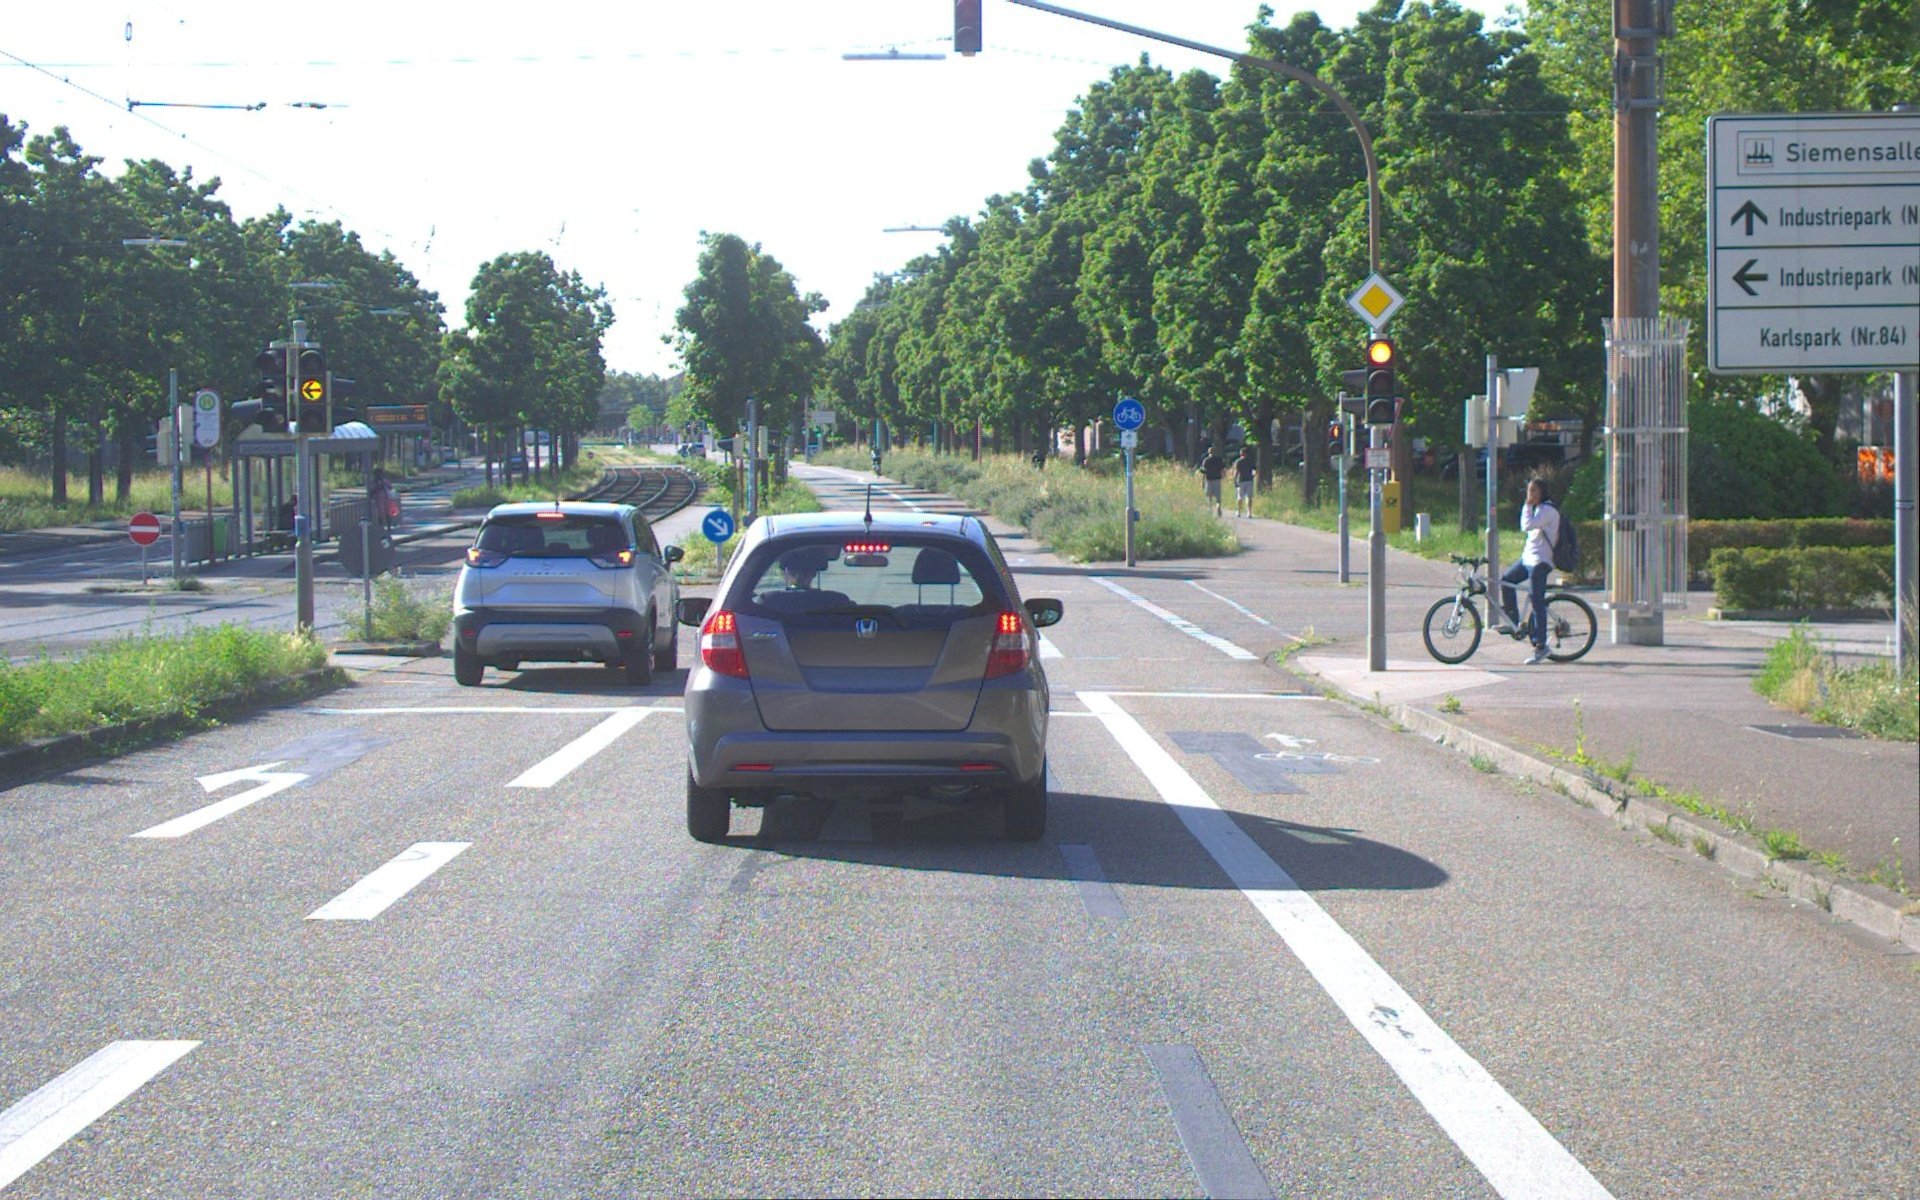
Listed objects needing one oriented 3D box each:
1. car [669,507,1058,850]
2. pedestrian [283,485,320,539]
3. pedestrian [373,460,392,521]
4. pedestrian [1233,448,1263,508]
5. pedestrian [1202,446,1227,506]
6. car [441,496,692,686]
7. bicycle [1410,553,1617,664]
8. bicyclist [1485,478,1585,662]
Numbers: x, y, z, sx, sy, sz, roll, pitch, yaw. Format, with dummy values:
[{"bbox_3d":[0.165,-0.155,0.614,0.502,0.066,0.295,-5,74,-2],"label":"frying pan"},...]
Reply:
[{"bbox_3d":[-0.415,0.295,17.232,1.707,1.503,4.000,1,2,0],"label":"car"},{"bbox_3d":[-15.257,-2.043,79.629,0.721,1.241,0.711,-1,2,-2],"label":"pedestrian"},{"bbox_3d":[-15.821,-2.989,94.193,0.502,1.670,0.388,0,2,-11],"label":"pedestrian"},{"bbox_3d":[7.762,-3.292,92.620,0.678,1.604,0.721,1,1,-2],"label":"pedestrian"},{"bbox_3d":[6.854,-3.339,92.591,0.567,1.591,0.666,1,1,-4],"label":"pedestrian"},{"bbox_3d":[-3.498,-0.132,31.245,1.850,1.601,4.255,0,2,-1],"label":"car"},{"bbox_3d":[5.368,0.082,33.307,1.921,0.994,0.764,-2,1,11],"label":"bicycle"},{"bbox_3d":[5.567,-0.291,33.258,0.910,1.739,0.764,-1,1,11],"label":"bicyclist"}]
